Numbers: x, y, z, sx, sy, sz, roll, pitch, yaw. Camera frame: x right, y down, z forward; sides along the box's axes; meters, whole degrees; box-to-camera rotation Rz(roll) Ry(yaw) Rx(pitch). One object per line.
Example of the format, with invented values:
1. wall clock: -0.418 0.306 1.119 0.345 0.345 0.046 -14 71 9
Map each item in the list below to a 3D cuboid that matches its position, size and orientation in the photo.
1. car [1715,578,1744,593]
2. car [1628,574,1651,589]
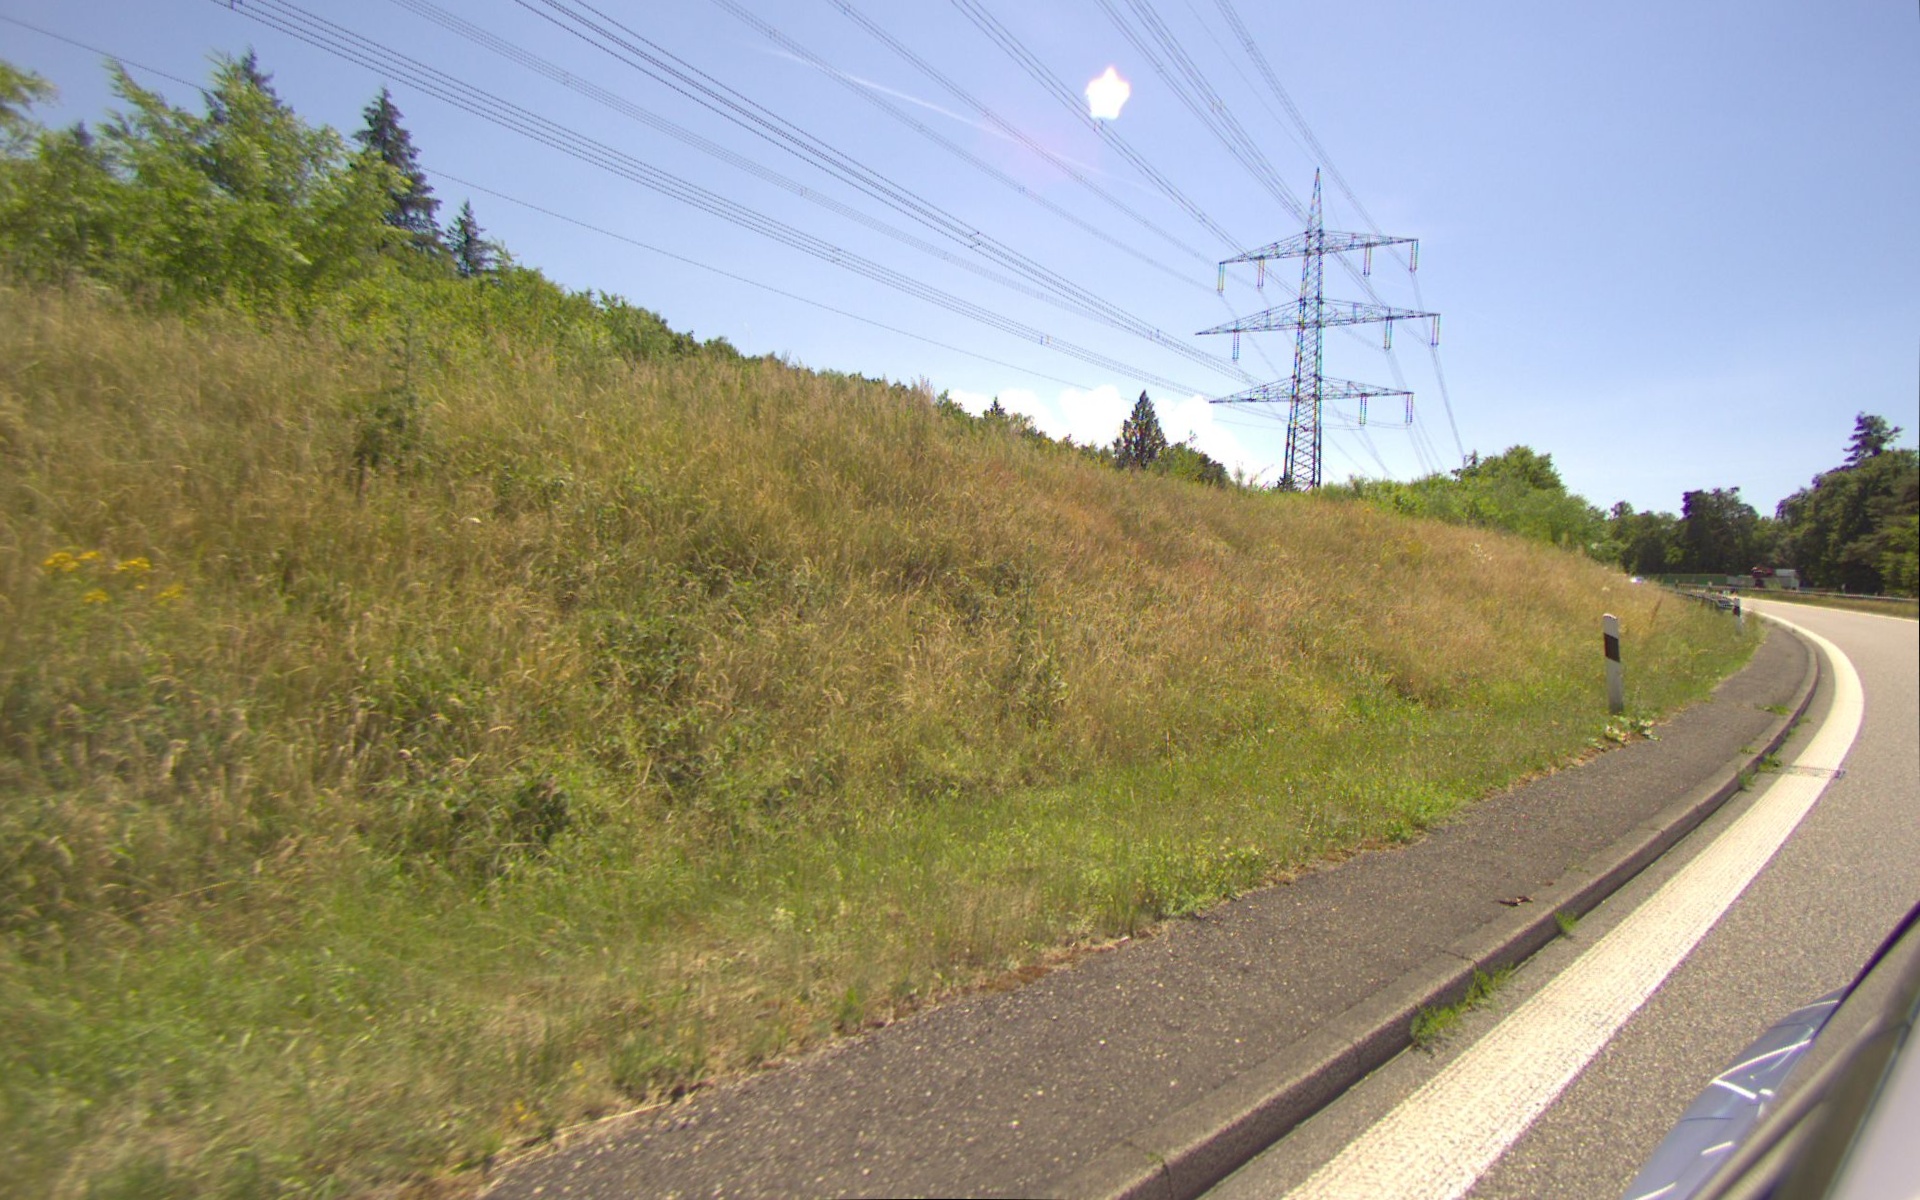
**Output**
1. car: 95.623 -1.831 125.738 1.983 1.660 5.219 5 4 29
2. car: 85.213 -2.327 126.906 1.982 1.705 3.961 2 2 28
